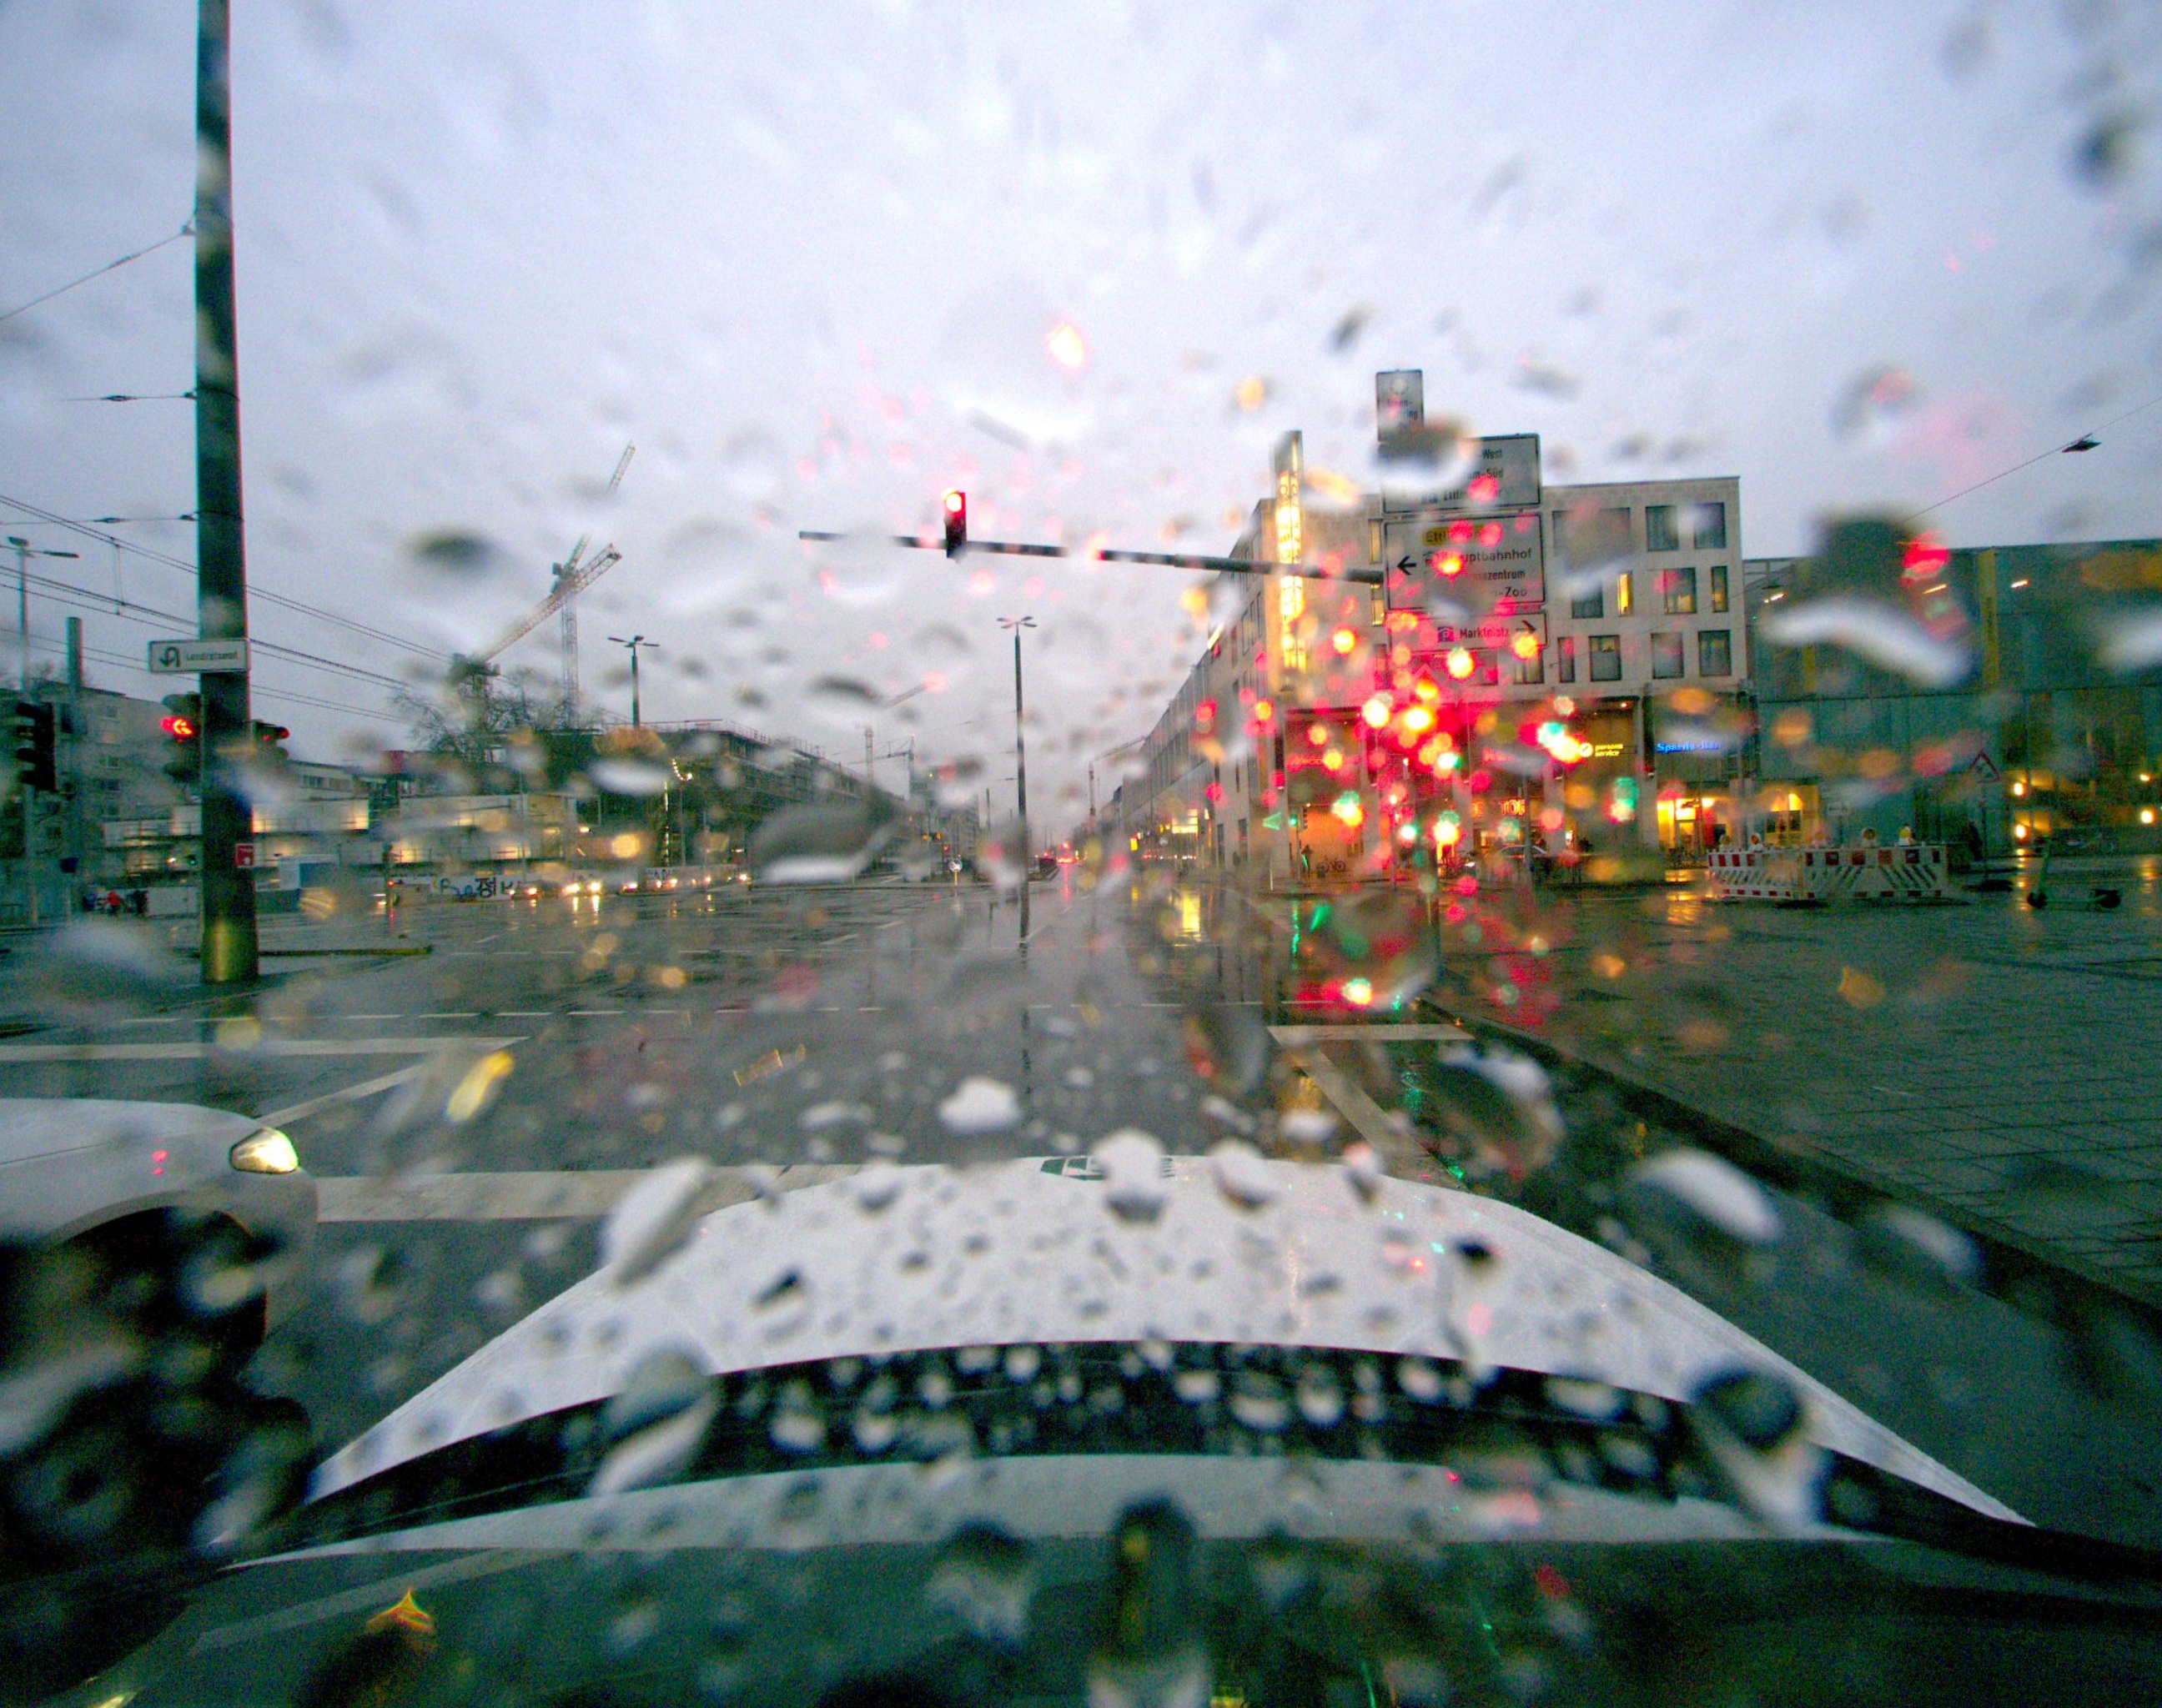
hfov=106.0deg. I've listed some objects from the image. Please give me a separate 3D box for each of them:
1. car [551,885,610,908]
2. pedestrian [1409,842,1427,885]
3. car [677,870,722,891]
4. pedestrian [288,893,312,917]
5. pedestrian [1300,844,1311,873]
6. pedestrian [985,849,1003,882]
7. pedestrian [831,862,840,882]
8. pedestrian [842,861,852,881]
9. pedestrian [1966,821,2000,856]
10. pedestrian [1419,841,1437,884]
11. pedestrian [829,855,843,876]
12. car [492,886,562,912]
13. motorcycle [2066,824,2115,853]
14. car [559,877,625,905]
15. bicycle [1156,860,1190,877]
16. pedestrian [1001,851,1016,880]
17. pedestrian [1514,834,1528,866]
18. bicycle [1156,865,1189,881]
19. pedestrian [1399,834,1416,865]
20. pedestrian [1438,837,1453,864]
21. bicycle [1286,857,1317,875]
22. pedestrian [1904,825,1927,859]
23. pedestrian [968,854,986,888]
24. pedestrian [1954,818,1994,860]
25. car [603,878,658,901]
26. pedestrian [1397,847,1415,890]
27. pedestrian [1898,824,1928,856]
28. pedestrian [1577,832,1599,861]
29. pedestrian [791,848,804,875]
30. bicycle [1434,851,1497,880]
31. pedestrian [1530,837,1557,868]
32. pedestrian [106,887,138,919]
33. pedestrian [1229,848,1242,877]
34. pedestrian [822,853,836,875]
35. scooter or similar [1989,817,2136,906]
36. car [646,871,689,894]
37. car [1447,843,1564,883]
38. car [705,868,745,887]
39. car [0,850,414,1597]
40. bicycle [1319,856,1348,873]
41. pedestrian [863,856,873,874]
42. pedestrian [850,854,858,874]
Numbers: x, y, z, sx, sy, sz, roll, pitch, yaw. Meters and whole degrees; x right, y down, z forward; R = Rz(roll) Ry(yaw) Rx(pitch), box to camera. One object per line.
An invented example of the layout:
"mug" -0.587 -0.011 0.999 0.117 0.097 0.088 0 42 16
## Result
"car" -39.038 3.302 63.645 1.986 1.530 4.001 -2 0 2
"pedestrian" 19.317 0.545 46.715 0.687 2.441 0.758 0 -1 1
"car" -34.943 2.386 74.677 1.985 1.790 4.004 0 -1 4
"pedestrian" -47.823 3.116 49.882 0.725 1.388 0.725 -3 -1 4
"pedestrian" 13.705 0.290 49.715 0.596 1.745 0.526 -1 -1 10
"pedestrian" -4.987 0.653 46.681 0.826 1.831 0.778 0 -1 -29
"pedestrian" -23.442 1.694 77.881 0.696 1.881 0.553 0 -1 1
"pedestrian" -23.099 1.674 80.336 0.762 1.898 0.763 0 -2 1
"pedestrian" 44.189 -0.766 39.903 0.737 1.684 0.783 0 -1 8
"pedestrian" 20.085 0.505 47.143 0.691 2.448 0.792 0 -1 1
"pedestrian" -23.787 1.114 78.997 0.938 2.014 1.094 0 -1 2
"car" -38.605 3.123 56.848 1.986 1.530 4.001 -2 0 2
"motorcycle" 48.229 -0.751 38.924 1.482 1.352 0.595 0 0 5
"car" -33.710 2.528 56.248 1.986 1.657 4.001 -2 0 2
"bicycle" 6.947 1.115 61.587 2.434 1.154 0.674 -2 -1 0
"pedestrian" -4.291 0.689 48.216 0.605 1.686 0.581 -1 -1 44
"pedestrian" 25.252 -0.240 46.728 0.549 1.826 0.361 -2 -1 2
"bicycle" 6.960 1.427 62.325 2.417 1.099 0.712 -2 -1 0
"pedestrian" 21.576 -0.279 53.872 0.841 2.013 0.700 -2 0 10
"pedestrian" 23.233 -0.212 51.942 0.728 1.718 0.743 -3 -1 29
"bicycle" 13.654 0.741 50.508 1.765 1.070 0.523 0 -1 -7
"pedestrian" 42.323 -0.615 41.304 0.539 1.684 0.583 0 -1 8
"pedestrian" -6.104 0.985 47.726 0.776 2.014 0.732 -1 -1 44
"pedestrian" 36.335 -0.614 33.135 0.737 1.684 0.783 0 -1 8
"car" -34.278 2.644 62.076 2.074 1.530 4.603 -2 0 -8
"pedestrian" 18.479 0.820 46.361 0.712 2.441 0.758 0 -1 1
"pedestrian" 43.957 -0.724 43.036 0.737 1.684 0.783 0 -1 8
"pedestrian" 29.373 -0.428 47.169 0.890 1.684 0.528 -2 -1 1
"pedestrian" -24.223 0.656 69.563 0.762 2.323 0.763 0 -2 1
"bicycle" 19.251 0.583 40.785 2.705 1.359 0.957 -2 -1 -2
"pedestrian" 25.777 -0.067 45.428 1.026 1.684 0.824 0 -1 1
"pedestrian" -58.326 2.967 49.522 0.921 1.934 0.816 0 -1 -5
"pedestrian" 9.313 0.519 49.003 0.634 1.709 0.574 -2 -1 1
"pedestrian" -23.829 0.934 76.911 0.938 2.014 1.094 0 -1 1
"scooter or similar" 15.695 0.112 13.079 0.590 1.352 1.495 0 0 2
"car" -34.664 2.390 68.343 1.862 1.828 3.993 0 -1 -5
"car" 17.929 0.371 34.546 3.970 1.618 2.001 0 -1 3
"car" -35.011 2.261 80.233 1.985 1.790 4.004 0 -1 4
"car" -3.209 0.767 0.331 2.010 1.487 4.561 -2 0 1
"bicycle" 15.705 0.659 50.594 1.642 1.070 0.524 0 -1 -2
"pedestrian" -23.992 1.221 91.934 0.941 2.014 1.091 0 -1 -8
"pedestrian" -22.757 1.003 81.564 0.569 1.968 0.664 1 -1 -4
